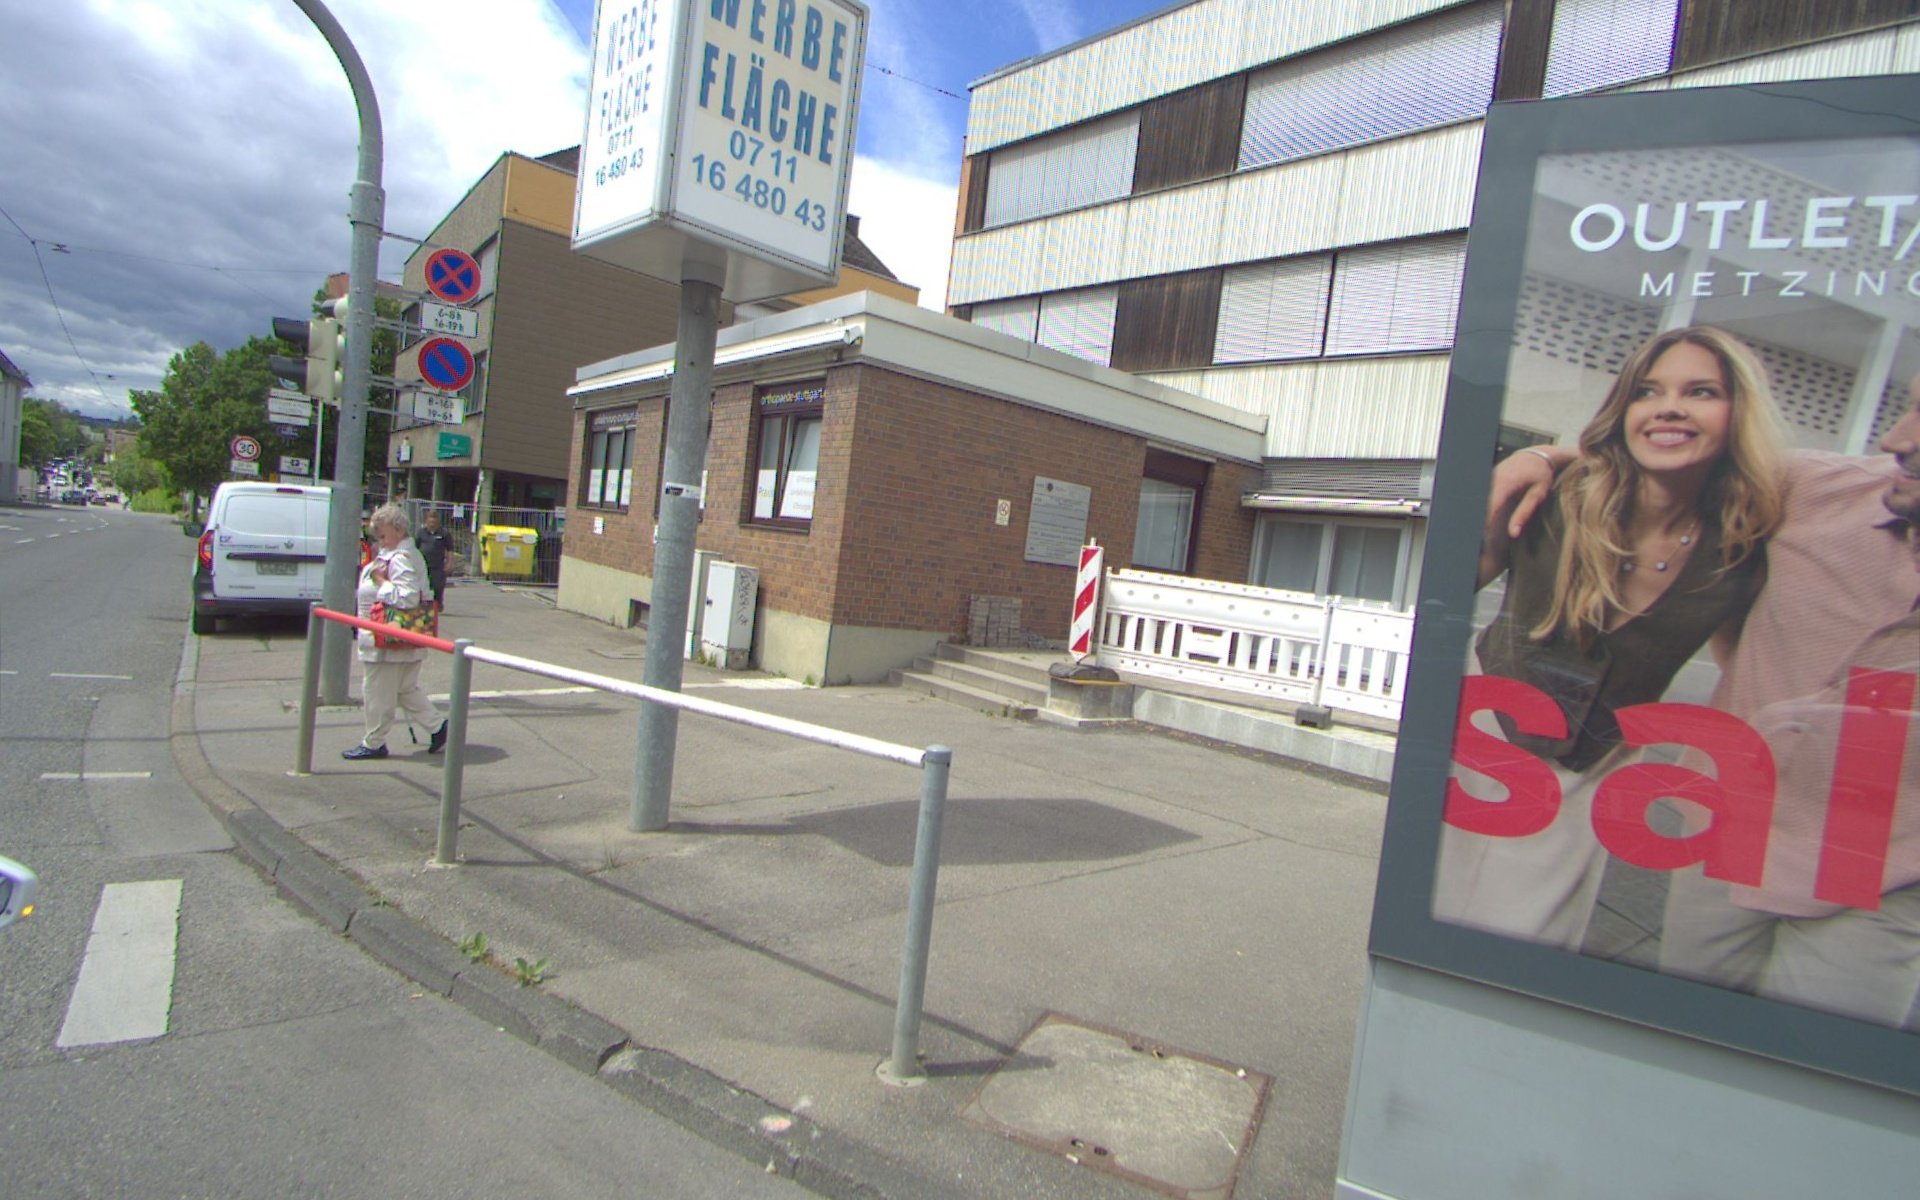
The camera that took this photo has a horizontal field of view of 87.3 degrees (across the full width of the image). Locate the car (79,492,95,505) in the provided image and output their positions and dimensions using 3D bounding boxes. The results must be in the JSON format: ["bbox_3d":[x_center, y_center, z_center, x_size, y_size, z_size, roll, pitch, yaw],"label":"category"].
[{"bbox_3d":[-154.392,-17.905,177.942,1.984,2.040,3.953,4,1,-42],"label":"car"}]

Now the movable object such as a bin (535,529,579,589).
[{"bbox_3d":[-10.701,-1.095,26.677,0.774,1.460,1.008,4,5,-34],"label":"movable object such as a bin"}]

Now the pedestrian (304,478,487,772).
[{"bbox_3d":[-3.442,0.153,6.221,0.862,1.659,0.831,3,2,-26],"label":"pedestrian"}]

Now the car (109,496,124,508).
[{"bbox_3d":[-154.724,-18.005,184.595,1.984,2.040,3.953,4,1,-42],"label":"car"}]

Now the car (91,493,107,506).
[{"bbox_3d":[-146.585,-17.121,171.238,1.984,2.040,3.953,4,1,-42],"label":"car"}]

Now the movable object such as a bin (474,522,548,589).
[{"bbox_3d":[-11.602,-1.152,25.981,1.472,1.513,1.065,5,4,-35],"label":"movable object such as a bin"}]

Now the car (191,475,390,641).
[{"bbox_3d":[-8.977,-0.604,13.399,1.898,1.819,4.445,1,4,-36],"label":"car"}]

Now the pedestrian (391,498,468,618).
[{"bbox_3d":[-8.599,-0.676,16.307,0.838,1.826,0.644,6,2,-38],"label":"pedestrian"}]

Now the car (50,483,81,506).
[{"bbox_3d":[-92.619,-10.915,104.175,3.947,2.040,1.988,7,2,44],"label":"car"}]
